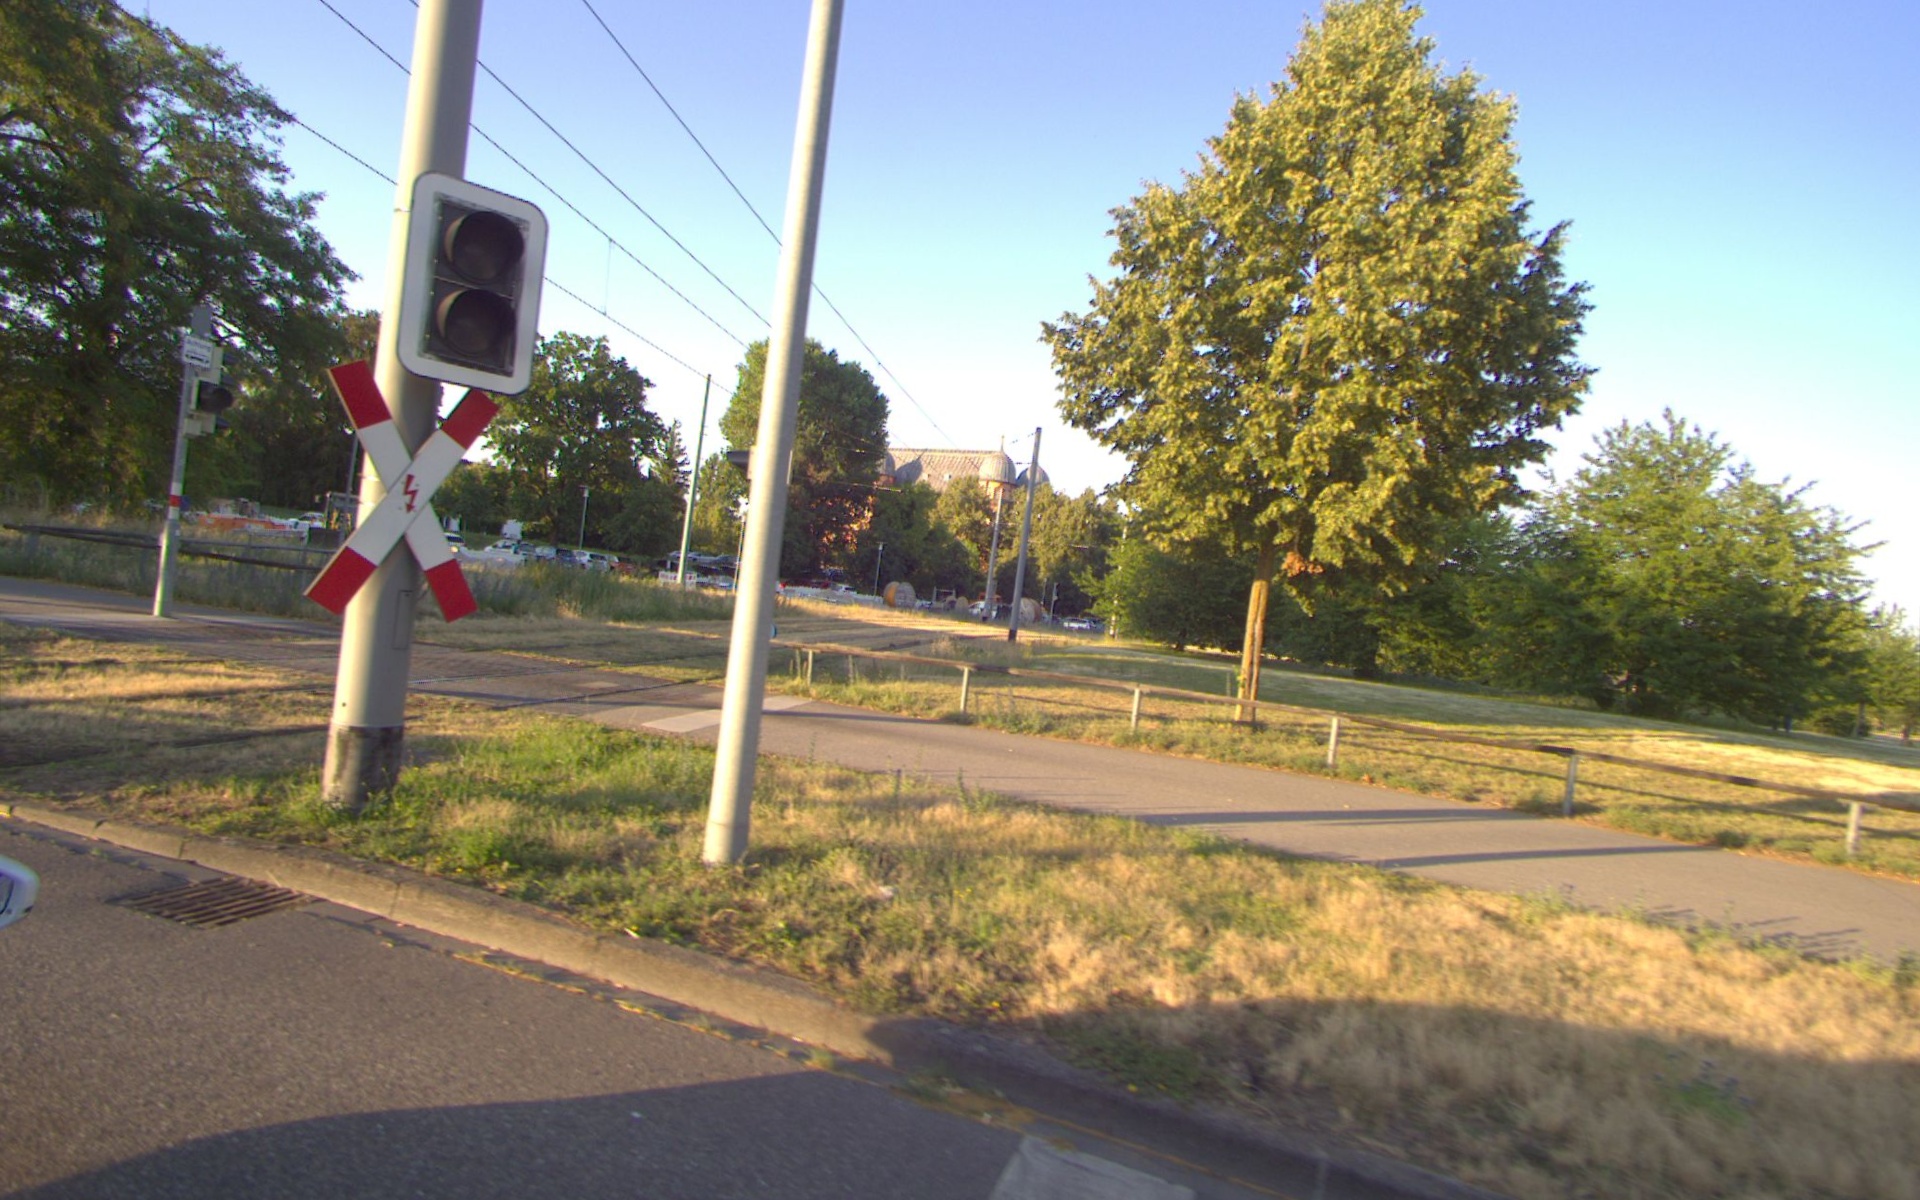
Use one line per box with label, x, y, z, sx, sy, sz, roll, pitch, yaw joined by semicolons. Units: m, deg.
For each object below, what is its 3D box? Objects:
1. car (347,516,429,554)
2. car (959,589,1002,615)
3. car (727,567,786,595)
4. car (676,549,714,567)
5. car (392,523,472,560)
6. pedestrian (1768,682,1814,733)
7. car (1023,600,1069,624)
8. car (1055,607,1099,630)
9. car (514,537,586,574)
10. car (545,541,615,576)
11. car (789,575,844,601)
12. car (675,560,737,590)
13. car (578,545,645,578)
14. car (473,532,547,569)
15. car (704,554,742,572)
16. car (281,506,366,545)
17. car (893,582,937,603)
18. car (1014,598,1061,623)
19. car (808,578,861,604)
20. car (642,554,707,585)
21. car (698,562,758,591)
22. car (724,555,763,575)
car;-30.239;-3.428;53.198;3.932;1.463;1.950;8;0;30
car;2.142;0.219;105.064;3.932;2.122;1.900;8;1;30
car;-15.381;-1.428;75.957;3.932;1.573;1.900;8;1;30
car;-31.685;-5.004;120.297;1.872;1.573;3.990;8;0;33
car;-28.812;-3.174;54.874;3.932;1.463;1.950;8;0;30
pedestrian;33.960;4.383;41.126;1.092;1.887;0.904;7;1;-29
car;7.593;1.090;89.192;3.548;1.499;1.710;9;0;27
car;11.022;1.718;94.680;3.548;1.499;1.710;9;0;27
car;-25.039;-2.707;61.406;3.932;1.682;1.949;8;1;30
car;-23.897;-2.606;63.311;3.932;1.682;1.949;8;1;30
car;-11.662;-0.994;81.782;3.932;1.573;1.900;8;1;30
car;-18.099;-1.754;71.679;3.932;1.573;1.900;8;1;30
car;-22.773;-2.506;65.746;3.932;1.573;1.900;8;1;30
car;-26.714;-2.938;59.670;3.932;1.682;1.949;8;1;30
car;-27.698;-4.348;117.563;1.872;1.573;3.990;8;0;33
car;-32.150;-3.763;50.787;3.932;1.463;1.950;8;0;30
car;-4.207;-0.722;94.401;3.614;1.370;1.799;9;0;27
car;6.730;0.926;87.354;3.548;1.499;1.710;9;0;27
car;-10.501;-0.746;83.945;3.932;1.573;1.900;8;1;30
car;-19.748;-2.083;69.564;4.029;1.573;1.900;8;1;30
car;-16.960;-1.704;73.570;3.932;1.573;1.900;8;1;30
car;-24.841;-4.033;115.677;1.967;1.766;3.991;9;1;32
